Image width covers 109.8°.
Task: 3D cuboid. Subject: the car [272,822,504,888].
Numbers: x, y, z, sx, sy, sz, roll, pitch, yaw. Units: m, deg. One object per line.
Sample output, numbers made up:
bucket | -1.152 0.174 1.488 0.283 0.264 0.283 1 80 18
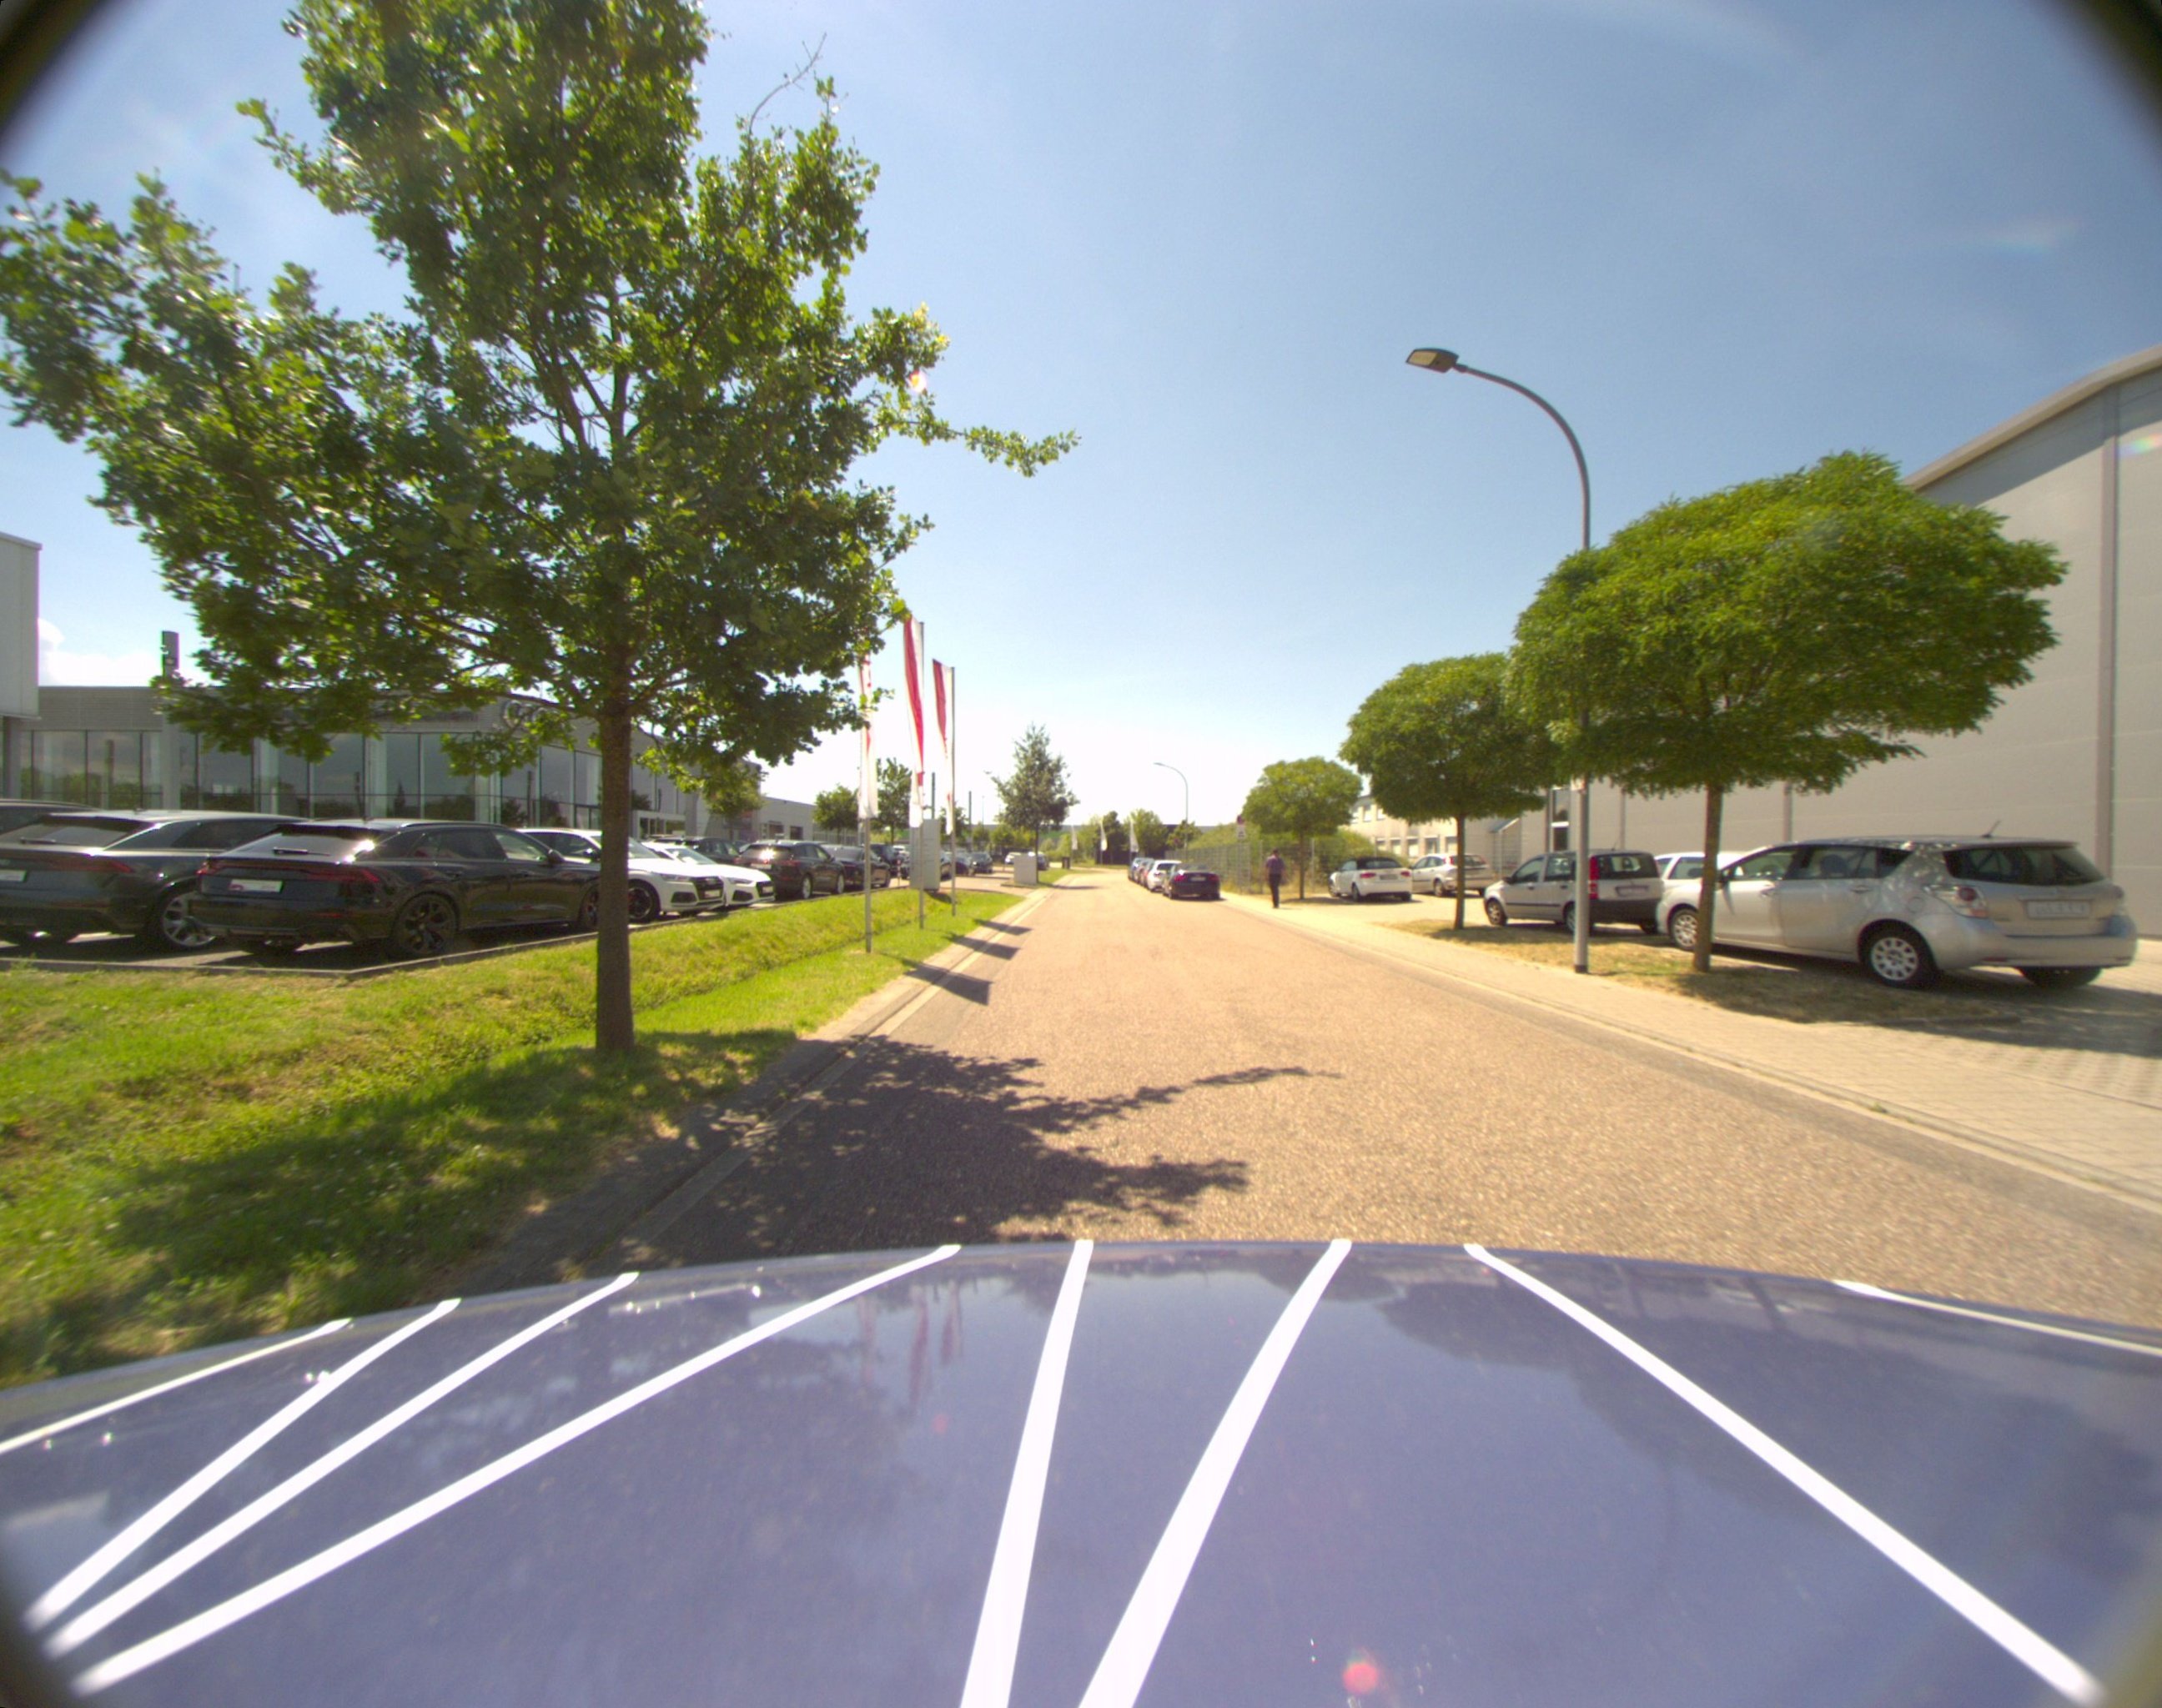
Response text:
car | -19.065 0.013 21.303 2.030 1.580 4.779 2 0 1

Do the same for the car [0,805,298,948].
car | -13.956 0.238 10.082 2.029 1.715 4.809 2 0 2

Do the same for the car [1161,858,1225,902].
car | 4.207 0.939 29.221 1.829 1.491 4.525 1 0 1

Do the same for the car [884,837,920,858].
car | -14.770 -0.484 62.863 1.966 1.604 4.288 2 0 0

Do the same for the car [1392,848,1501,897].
car | 12.463 0.596 26.215 1.828 1.491 4.259 -2 0 3

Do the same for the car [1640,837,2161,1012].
car | 9.293 0.639 9.209 1.770 1.564 4.540 -1 0 1

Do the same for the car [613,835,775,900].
car | -10.749 0.346 21.601 2.030 1.580 4.779 2 0 1

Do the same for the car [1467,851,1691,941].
car | 9.212 0.699 14.455 1.687 1.491 3.703 0 0 -4

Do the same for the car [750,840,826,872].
car | -15.113 0.034 39.503 1.966 1.448 4.984 2 2 1

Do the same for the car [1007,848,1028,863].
car | -6.791 0.159 82.051 1.824 1.519 4.944 2 0 0

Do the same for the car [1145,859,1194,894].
car | 4.003 0.985 35.037 1.829 1.491 4.259 1 0 1

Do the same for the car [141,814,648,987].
car | -8.406 0.470 10.223 2.029 1.683 5.109 2 0 2

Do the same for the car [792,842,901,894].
car | -8.016 0.442 26.578 2.030 1.505 5.239 3 0 1

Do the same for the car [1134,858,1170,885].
car | 4.245 1.015 46.088 1.829 1.491 4.520 1 0 1

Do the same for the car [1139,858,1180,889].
car | 4.140 0.999 40.614 1.829 1.491 4.520 1 0 1

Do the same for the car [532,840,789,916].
car | -9.177 0.502 16.901 4.540 1.449 2.031 2 0 -1

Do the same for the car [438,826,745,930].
car | -9.109 0.411 14.397 4.538 1.683 2.032 2 0 4

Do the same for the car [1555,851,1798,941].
car | 11.360 0.714 14.853 1.687 1.491 3.703 -1 0 -4

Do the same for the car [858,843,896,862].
car | -17.251 -0.096 64.385 1.966 1.468 4.372 2 0 0

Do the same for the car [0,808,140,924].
car | -16.652 0.144 10.169 2.029 1.670 4.809 2 0 2

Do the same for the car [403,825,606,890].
car | -16.045 0.095 21.568 2.030 1.580 4.779 2 0 1

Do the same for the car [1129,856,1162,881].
car | 4.334 0.950 51.803 1.829 1.561 4.386 1 0 0

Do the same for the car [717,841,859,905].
car | -8.056 0.471 21.455 2.030 1.564 4.779 2 0 1

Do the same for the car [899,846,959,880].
car | -7.660 0.420 38.803 1.966 1.448 4.984 2 2 1

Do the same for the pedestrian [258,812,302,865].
pedestrian | -25.857 -0.482 24.535 0.712 1.685 0.637 0 -2 0

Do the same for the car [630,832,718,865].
car | -21.821 -0.359 40.999 1.966 1.612 4.984 2 2 1

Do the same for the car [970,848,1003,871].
car | -7.043 0.403 57.110 1.892 1.562 4.227 3 0 0

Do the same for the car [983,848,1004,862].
car | -10.779 0.164 93.646 1.966 1.620 4.626 2 0 0

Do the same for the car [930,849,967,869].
car | -9.870 0.354 56.911 1.966 1.358 4.227 3 0 0

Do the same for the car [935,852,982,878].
car | -7.356 0.687 46.116 1.966 1.358 4.721 3 -1 1

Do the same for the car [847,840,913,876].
car | -10.199 0.165 39.019 1.966 1.589 4.984 2 2 1

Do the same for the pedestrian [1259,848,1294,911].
pedestrian | 5.788 0.733 22.511 0.746 1.791 1.135 -2 0 3

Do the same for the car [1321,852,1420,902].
car | 9.590 0.703 25.556 1.828 1.491 4.328 -2 0 3

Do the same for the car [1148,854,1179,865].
car | 11.846 0.727 109.306 4.169 1.557 1.780 0 0 0

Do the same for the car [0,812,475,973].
car | -11.069 0.363 10.086 2.029 1.601 4.809 2 0 2

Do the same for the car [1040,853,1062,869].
car | -2.880 0.635 74.681 1.884 1.446 5.023 3 0 0
